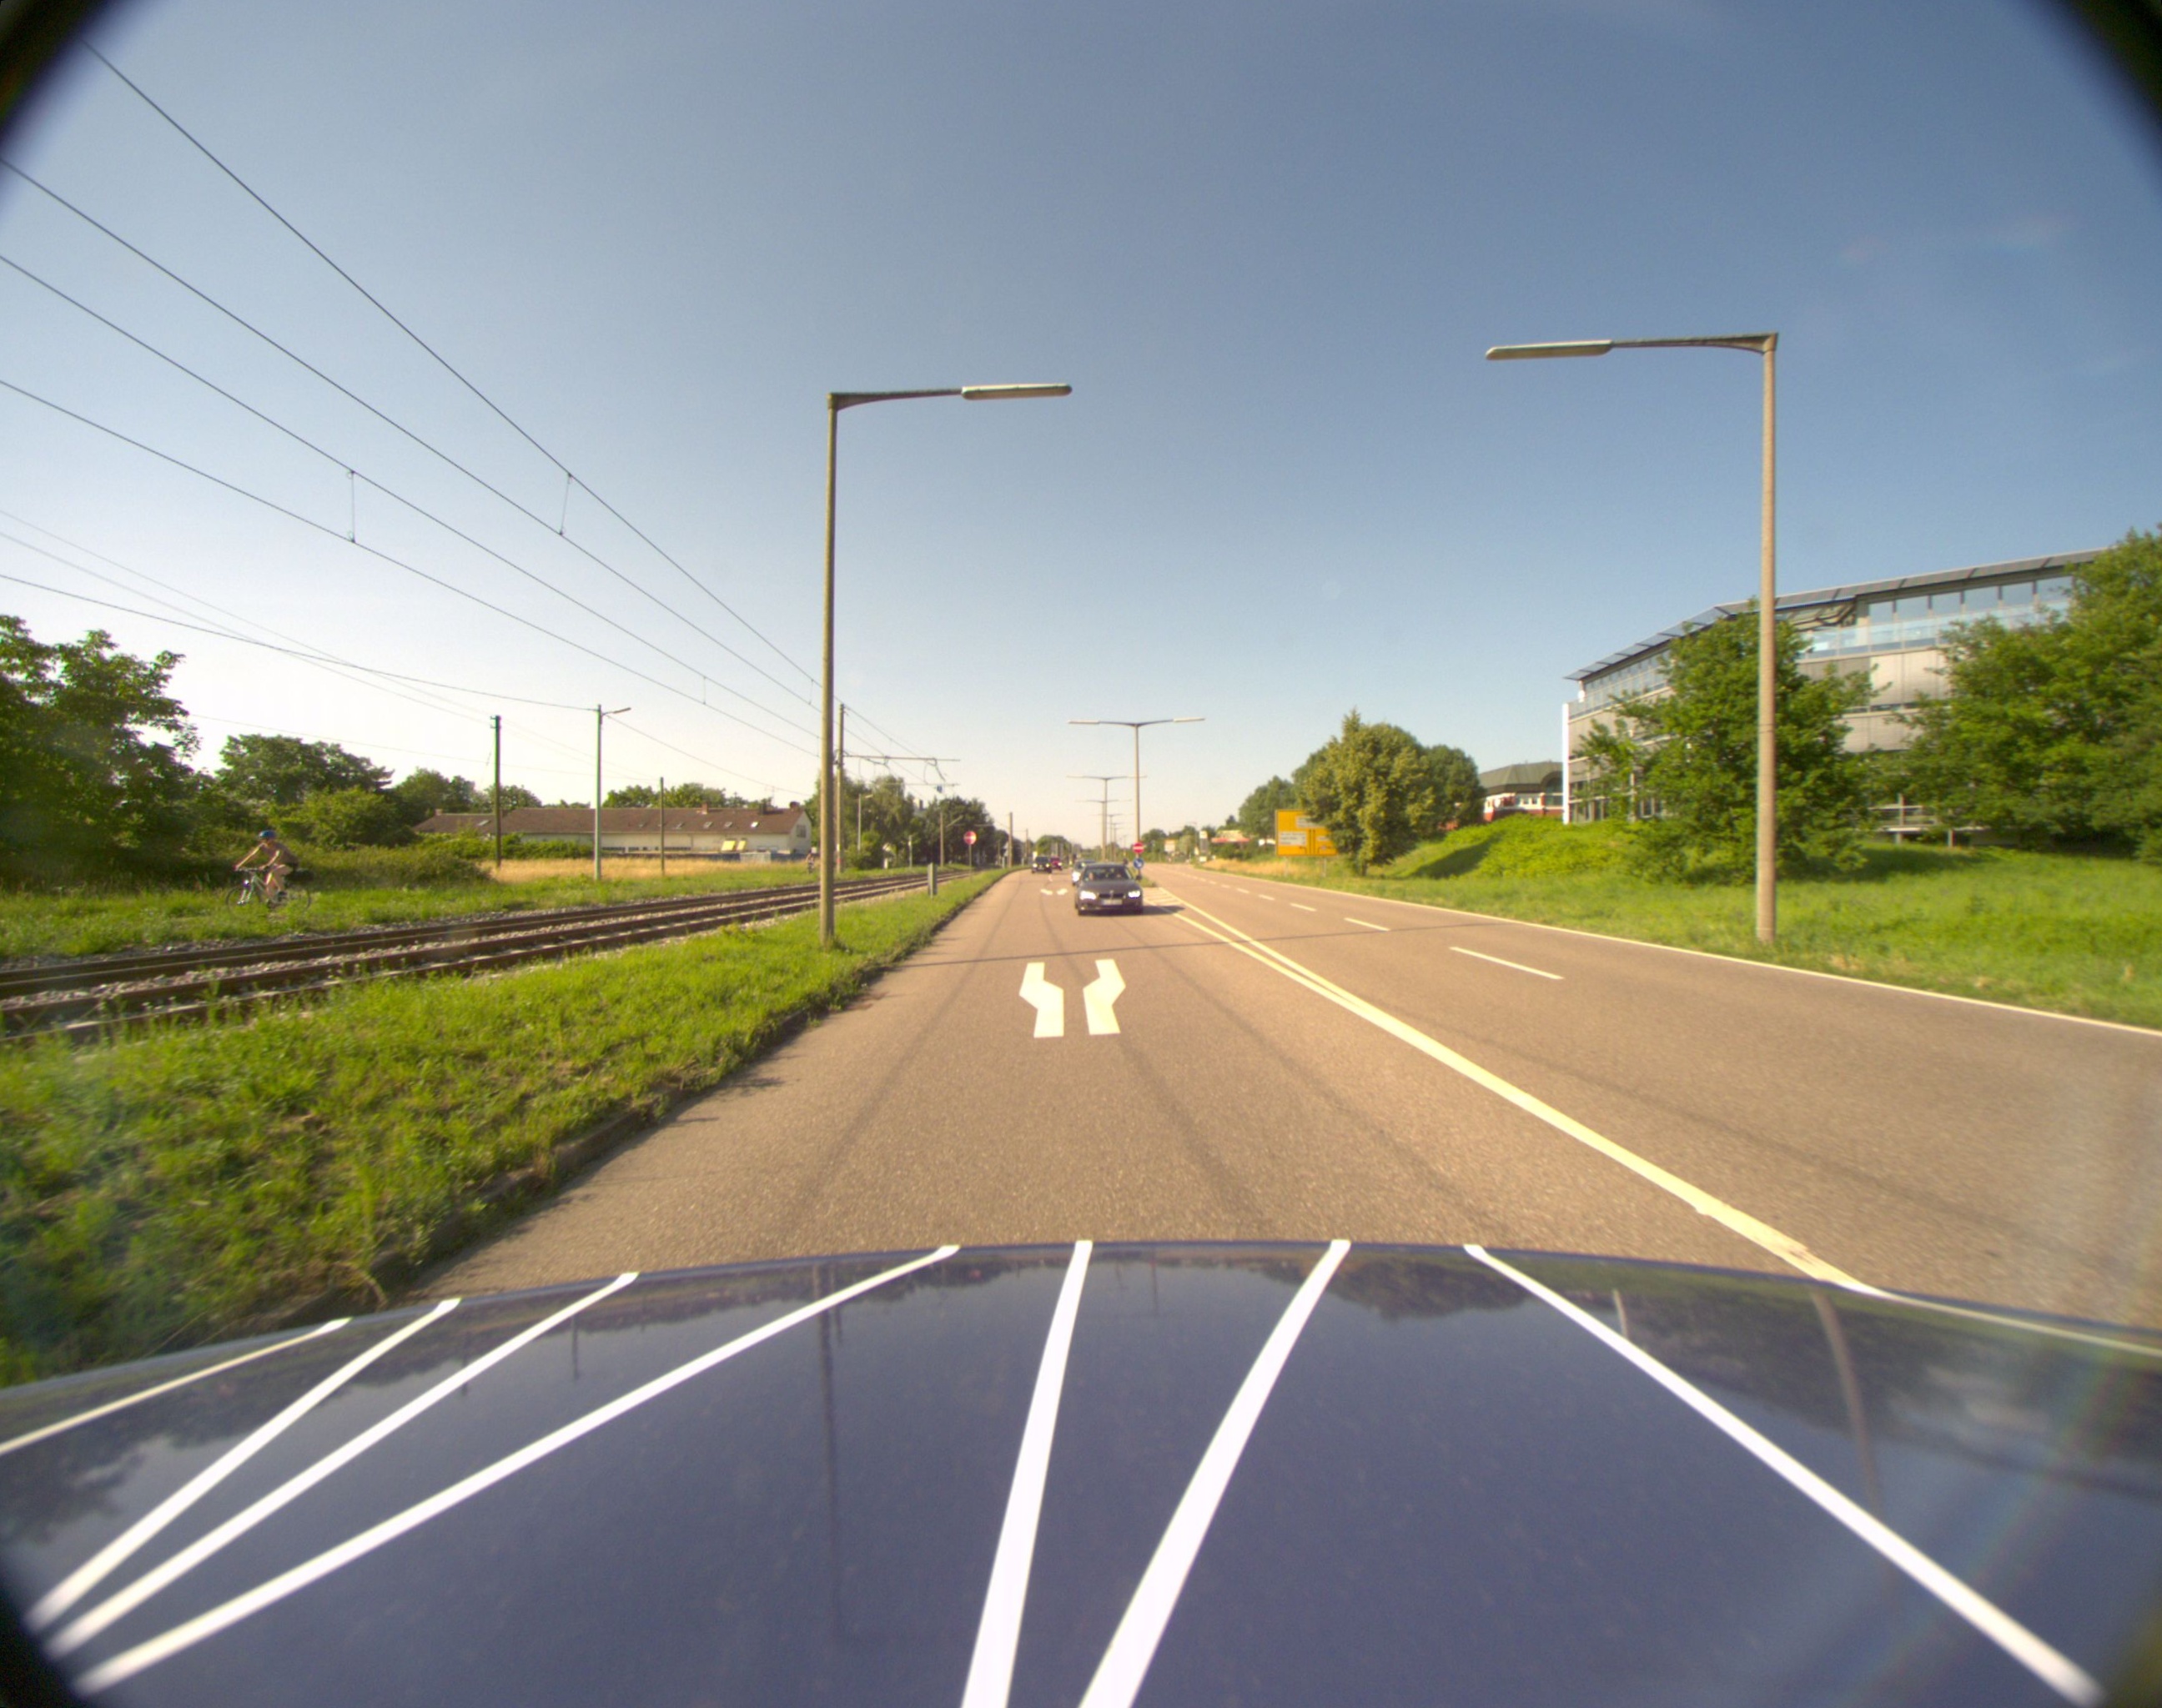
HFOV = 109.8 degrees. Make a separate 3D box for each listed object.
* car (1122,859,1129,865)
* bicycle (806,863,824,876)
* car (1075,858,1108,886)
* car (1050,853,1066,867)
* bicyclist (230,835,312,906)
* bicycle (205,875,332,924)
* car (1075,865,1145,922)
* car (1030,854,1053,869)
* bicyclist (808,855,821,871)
[{"bbox_3d":[11.930,2.104,203.434,1.563,1.369,3.384,-3,1,-5],"label":"car"},{"bbox_3d":[-19.996,1.156,57.159,0.644,0.904,1.814,-1,0,0],"label":"bicycle"},{"bbox_3d":[0.636,0.990,42.776,1.710,1.444,4.591,-2,-1,3],"label":"car"},{"bbox_3d":[-2.671,0.709,88.508,1.607,1.504,4.268,-2,-1,1],"label":"car"},{"bbox_3d":[-16.816,0.340,15.795,0.631,1.414,0.962,-1,0,0],"label":"bicyclist"},{"bbox_3d":[-16.804,0.912,15.789,0.644,0.904,1.844,-1,0,0],"label":"bicycle"},{"bbox_3d":[0.753,1.069,21.947,1.748,1.444,3.946,-1,0,-2],"label":"car"},{"bbox_3d":[-3.654,0.695,71.572,1.847,1.347,4.155,-2,-1,1],"label":"car"},{"bbox_3d":[-20.012,0.670,57.102,0.641,1.226,0.791,-1,0,0],"label":"bicyclist"}]
